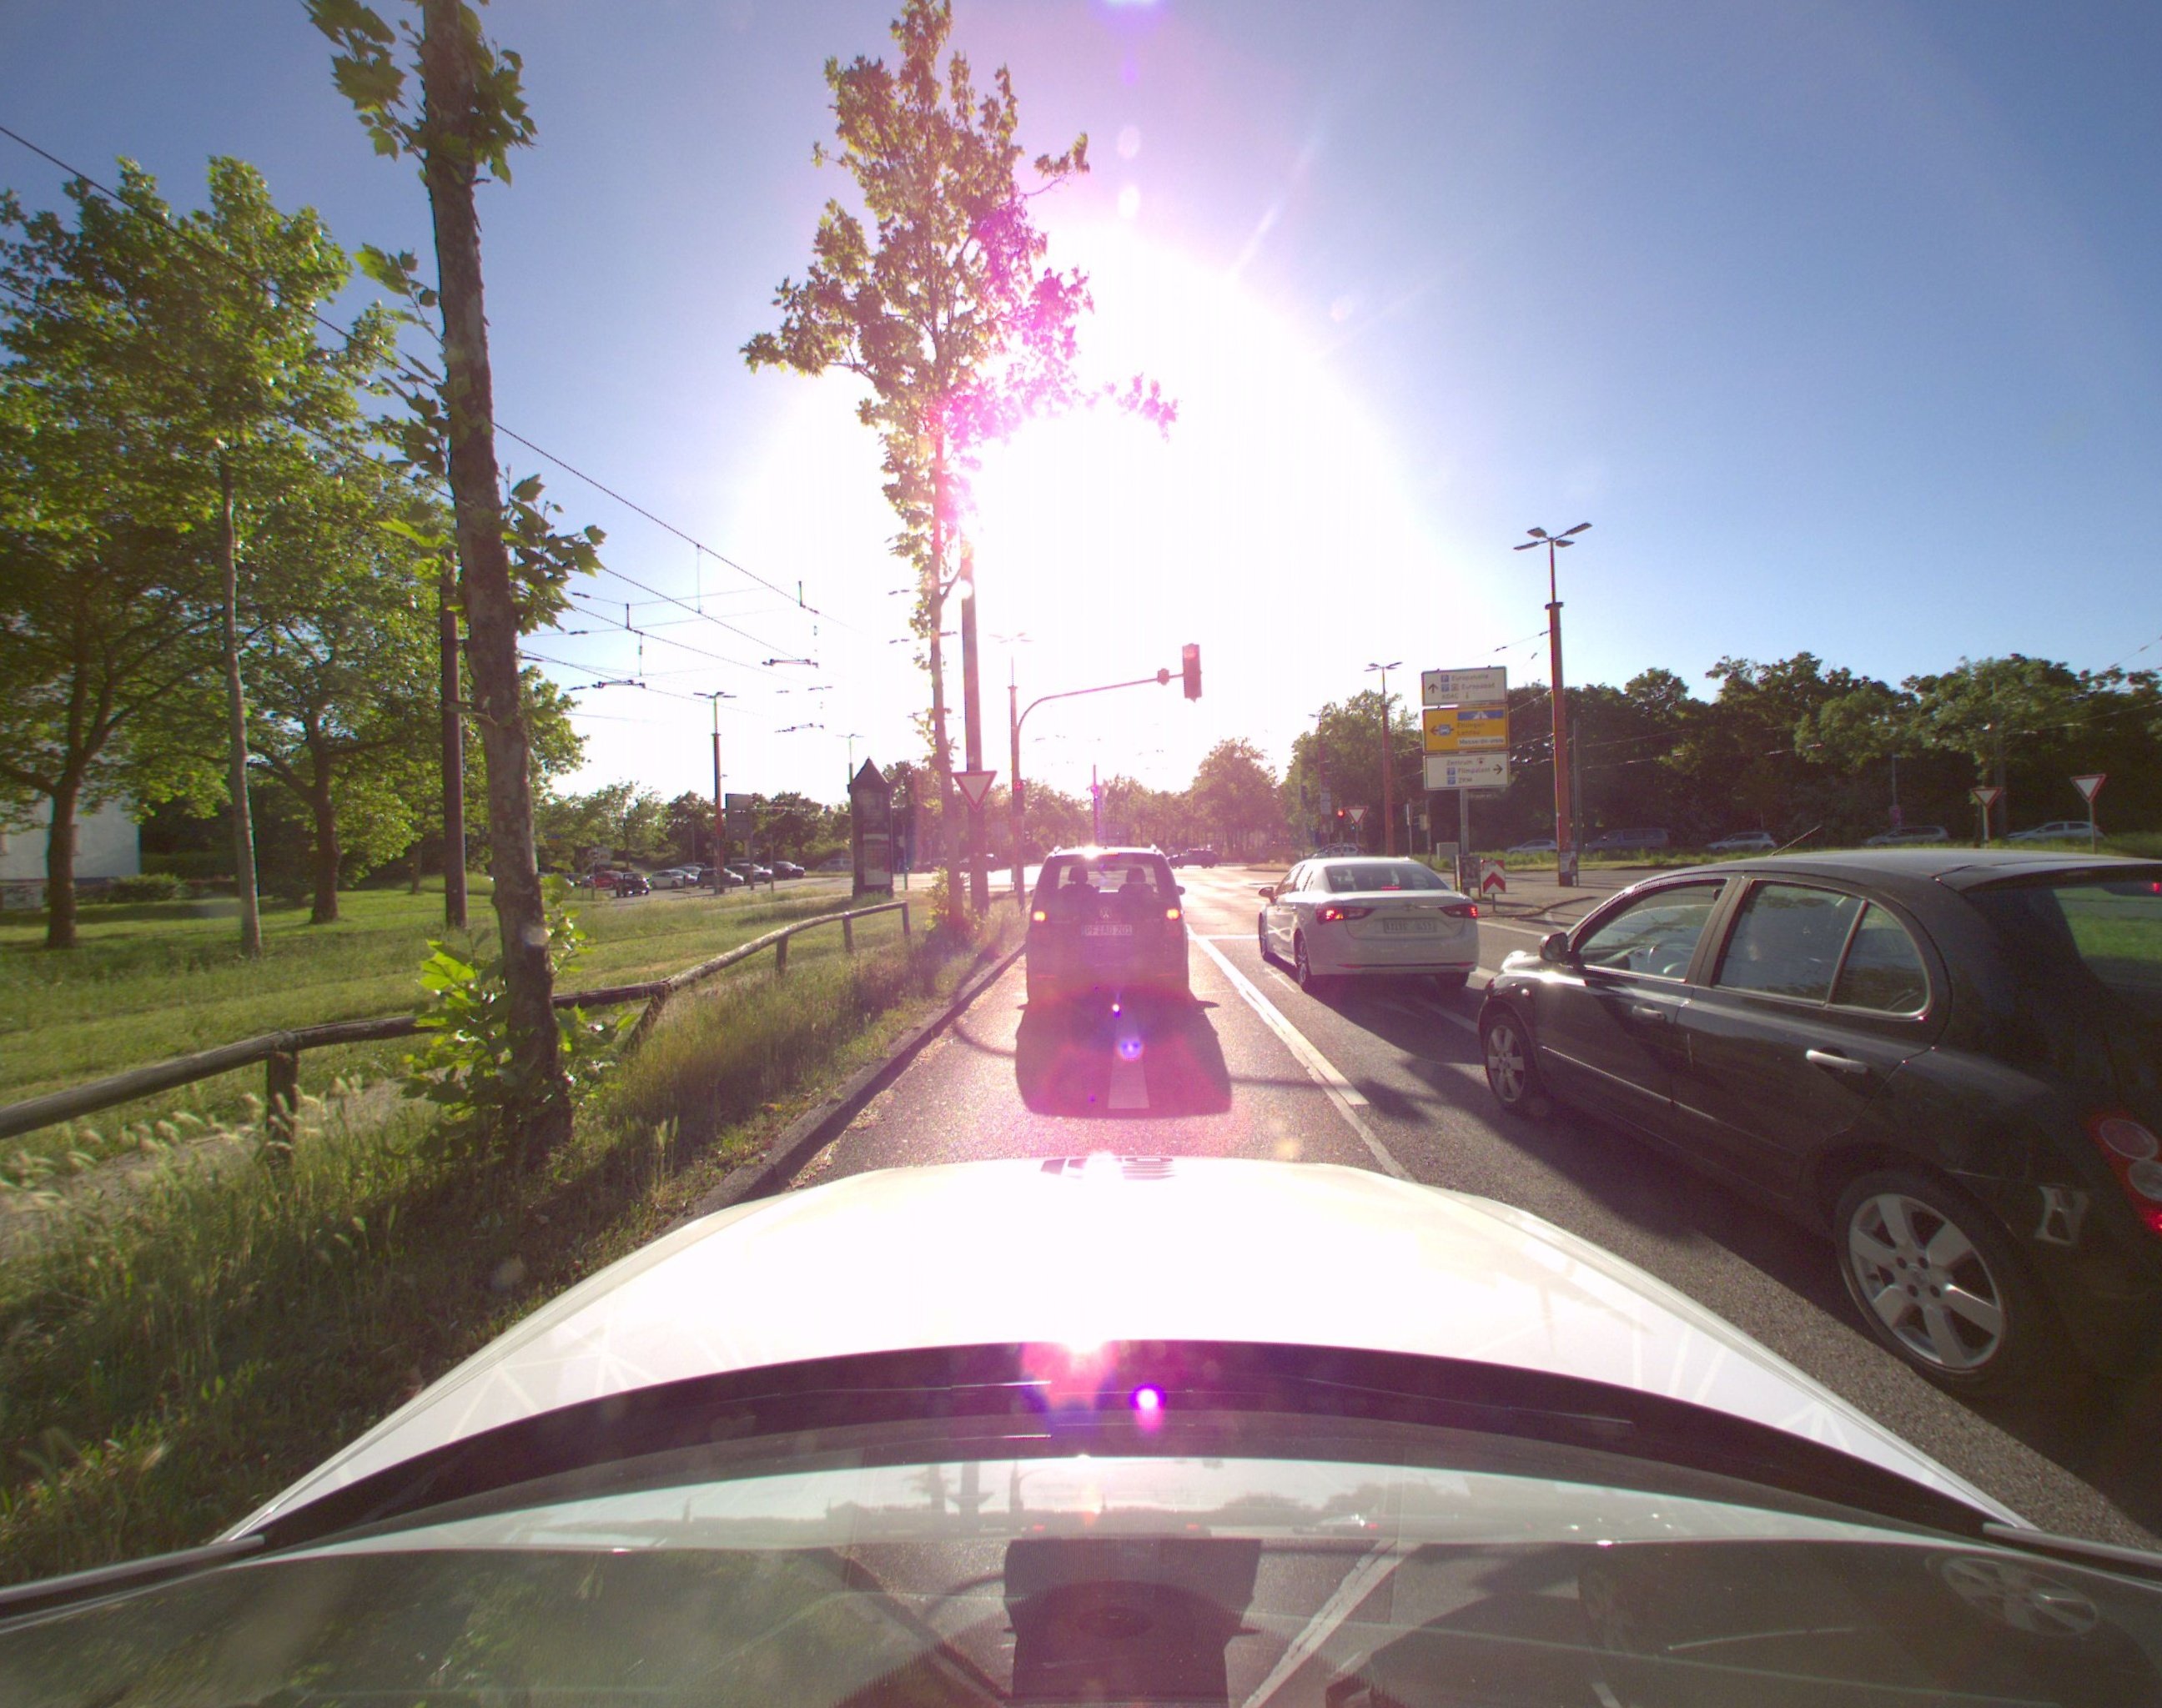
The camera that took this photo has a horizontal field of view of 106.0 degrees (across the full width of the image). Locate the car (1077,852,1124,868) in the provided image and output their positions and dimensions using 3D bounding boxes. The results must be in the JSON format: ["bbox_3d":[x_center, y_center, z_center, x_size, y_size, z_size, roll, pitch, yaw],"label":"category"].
[{"bbox_3d":[1.818,0.577,75.033,3.927,1.441,1.696,0,-1,26],"label":"car"}]

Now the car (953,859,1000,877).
[{"bbox_3d":[-9.903,1.333,77.372,4.139,1.644,1.770,0,-1,28],"label":"car"}]

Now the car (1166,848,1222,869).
[{"bbox_3d":[9.318,0.390,67.218,4.080,1.598,1.840,-2,0,29],"label":"car"}]

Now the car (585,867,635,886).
[{"bbox_3d":[-39.564,1.915,68.334,3.949,1.513,1.743,-2,0,27],"label":"car"}]

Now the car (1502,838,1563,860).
[{"bbox_3d":[32.215,-0.365,58.171,3.700,1.473,1.610,-2,0,28],"label":"car"}]

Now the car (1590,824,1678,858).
[{"bbox_3d":[35.679,-0.834,52.717,4.526,2.013,2.013,-2,0,30],"label":"car"}]

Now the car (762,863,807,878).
[{"bbox_3d":[-26.530,1.480,72.857,3.948,1.330,1.709,-2,0,33],"label":"car"}]

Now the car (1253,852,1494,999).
[{"bbox_3d":[3.326,0.710,10.153,1.713,1.438,4.202,-1,0,3],"label":"car"}]

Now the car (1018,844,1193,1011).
[{"bbox_3d":[0.294,0.721,9.937,1.694,1.621,3.898,-1,0,1],"label":"car"}]

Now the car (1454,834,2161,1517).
[{"bbox_3d":[3.227,0.697,3.578,1.647,1.500,3.617,-1,0,2],"label":"car"}]

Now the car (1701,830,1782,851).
[{"bbox_3d":[42.462,-0.869,52.441,3.792,1.264,1.613,0,-1,28],"label":"car"}]

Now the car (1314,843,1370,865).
[{"bbox_3d":[19.708,-0.001,61.533,3.783,1.523,1.706,-2,0,28],"label":"car"}]

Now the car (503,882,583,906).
[{"bbox_3d":[-42.764,3.159,64.820,4.825,1.731,1.995,-1,0,-7],"label":"car"}]

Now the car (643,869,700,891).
[{"bbox_3d":[-32.467,2.072,64.555,4.135,1.612,1.880,-2,0,27],"label":"car"}]

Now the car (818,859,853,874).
[{"bbox_3d":[-27.247,1.355,90.411,3.608,1.655,1.690,0,-1,27],"label":"car"}]

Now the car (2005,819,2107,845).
[{"bbox_3d":[54.560,-1.194,45.656,3.403,1.368,1.298,0,-1,33],"label":"car"}]

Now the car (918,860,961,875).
[{"bbox_3d":[-14.561,1.367,83.699,4.082,1.511,1.834,0,-1,28],"label":"car"}]

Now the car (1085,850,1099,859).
[{"bbox_3d":[2.034,0.110,144.392,1.904,1.635,4.010,0,0,9],"label":"car"}]

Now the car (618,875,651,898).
[{"bbox_3d":[-29.800,2.123,54.403,1.808,1.390,2.824,-1,0,-27],"label":"car"}]

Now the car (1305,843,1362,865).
[{"bbox_3d":[20.323,-0.007,65.541,4.081,1.644,1.864,-2,0,28],"label":"car"}]

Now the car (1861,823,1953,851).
[{"bbox_3d":[46.767,-0.931,46.198,3.362,1.457,1.474,-2,0,28],"label":"car"}]

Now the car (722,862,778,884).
[{"bbox_3d":[-26.590,1.543,65.340,3.950,1.644,2.012,-2,0,26],"label":"car"}]
